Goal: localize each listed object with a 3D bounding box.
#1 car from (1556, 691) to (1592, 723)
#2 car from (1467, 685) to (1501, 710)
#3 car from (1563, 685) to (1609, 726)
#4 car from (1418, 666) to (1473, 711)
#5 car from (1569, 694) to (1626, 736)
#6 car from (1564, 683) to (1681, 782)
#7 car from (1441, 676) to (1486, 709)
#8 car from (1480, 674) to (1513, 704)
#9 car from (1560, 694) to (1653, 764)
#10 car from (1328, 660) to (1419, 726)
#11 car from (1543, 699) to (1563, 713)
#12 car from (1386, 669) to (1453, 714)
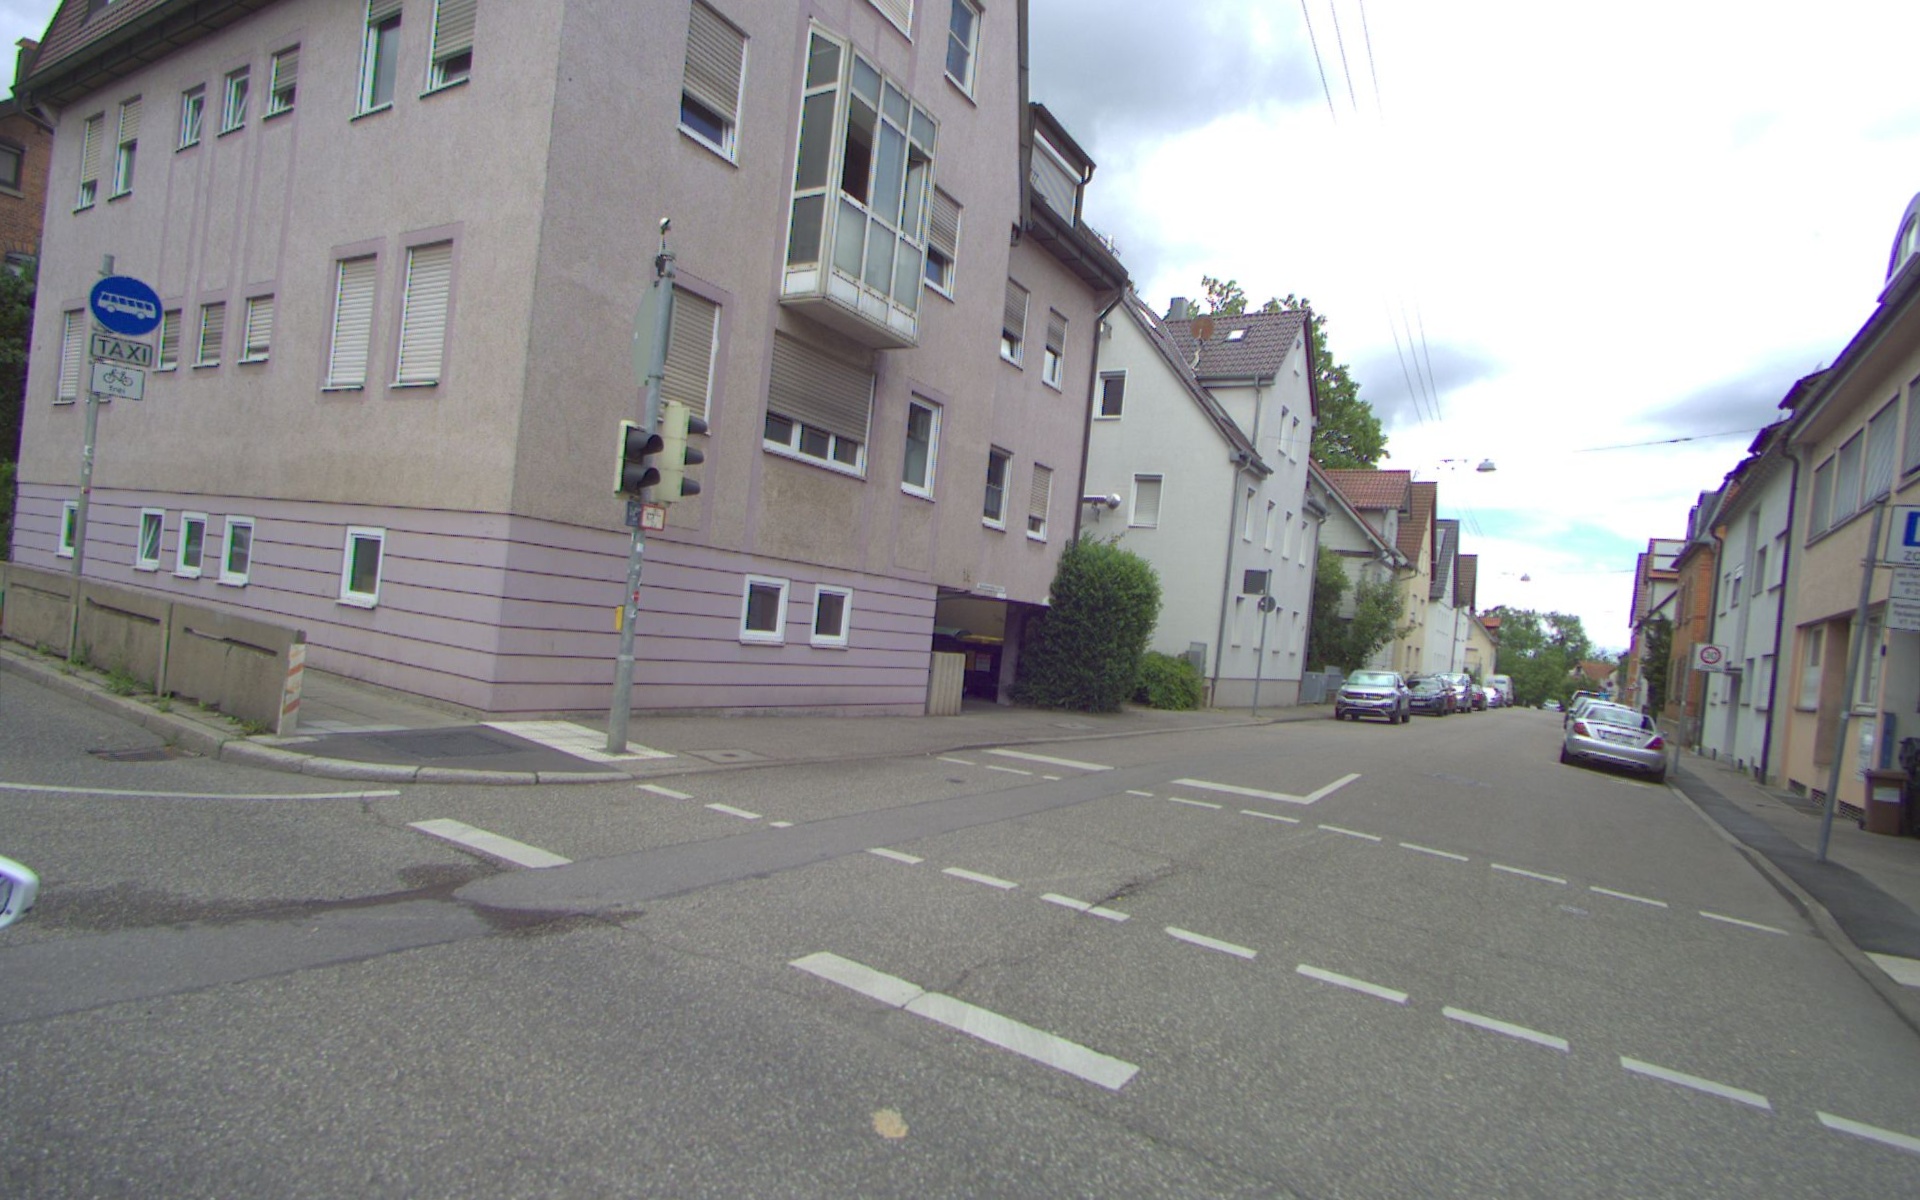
[{"bbox_3d":[37.764,6.583,61.882,1.692,1.658,3.993,6,-2,32],"label":"car"},{"bbox_3d":[37.107,6.898,71.208,1.708,1.478,3.994,6,-2,32],"label":"car"},{"bbox_3d":[33.332,5.623,53.560,1.847,1.871,3.993,6,-2,32],"label":"car"},{"bbox_3d":[24.279,4.452,50.245,1.967,1.905,3.995,6,-2,31],"label":"car"},{"bbox_3d":[27.188,4.916,42.964,1.847,1.459,3.994,6,-2,32],"label":"car"},{"bbox_3d":[13.831,2.731,21.188,1.763,1.638,3.994,6,-2,32],"label":"car"},{"bbox_3d":[29.509,5.427,58.928,1.967,1.638,3.995,6,-2,31],"label":"car"},{"bbox_3d":[43.690,7.246,81.859,1.967,2.149,3.994,6,-2,31],"label":"car"},{"bbox_3d":[16.163,3.189,25.222,1.699,1.384,3.993,6,-2,33],"label":"car"},{"bbox_3d":[12.518,2.805,30.319,1.859,1.638,3.995,6,-2,31],"label":"car"},{"bbox_3d":[65.039,11.649,110.351,1.772,1.192,3.995,6,-2,31],"label":"car"},{"bbox_3d":[18.839,3.770,41.181,1.967,1.521,3.995,6,-2,31],"label":"car"}]
